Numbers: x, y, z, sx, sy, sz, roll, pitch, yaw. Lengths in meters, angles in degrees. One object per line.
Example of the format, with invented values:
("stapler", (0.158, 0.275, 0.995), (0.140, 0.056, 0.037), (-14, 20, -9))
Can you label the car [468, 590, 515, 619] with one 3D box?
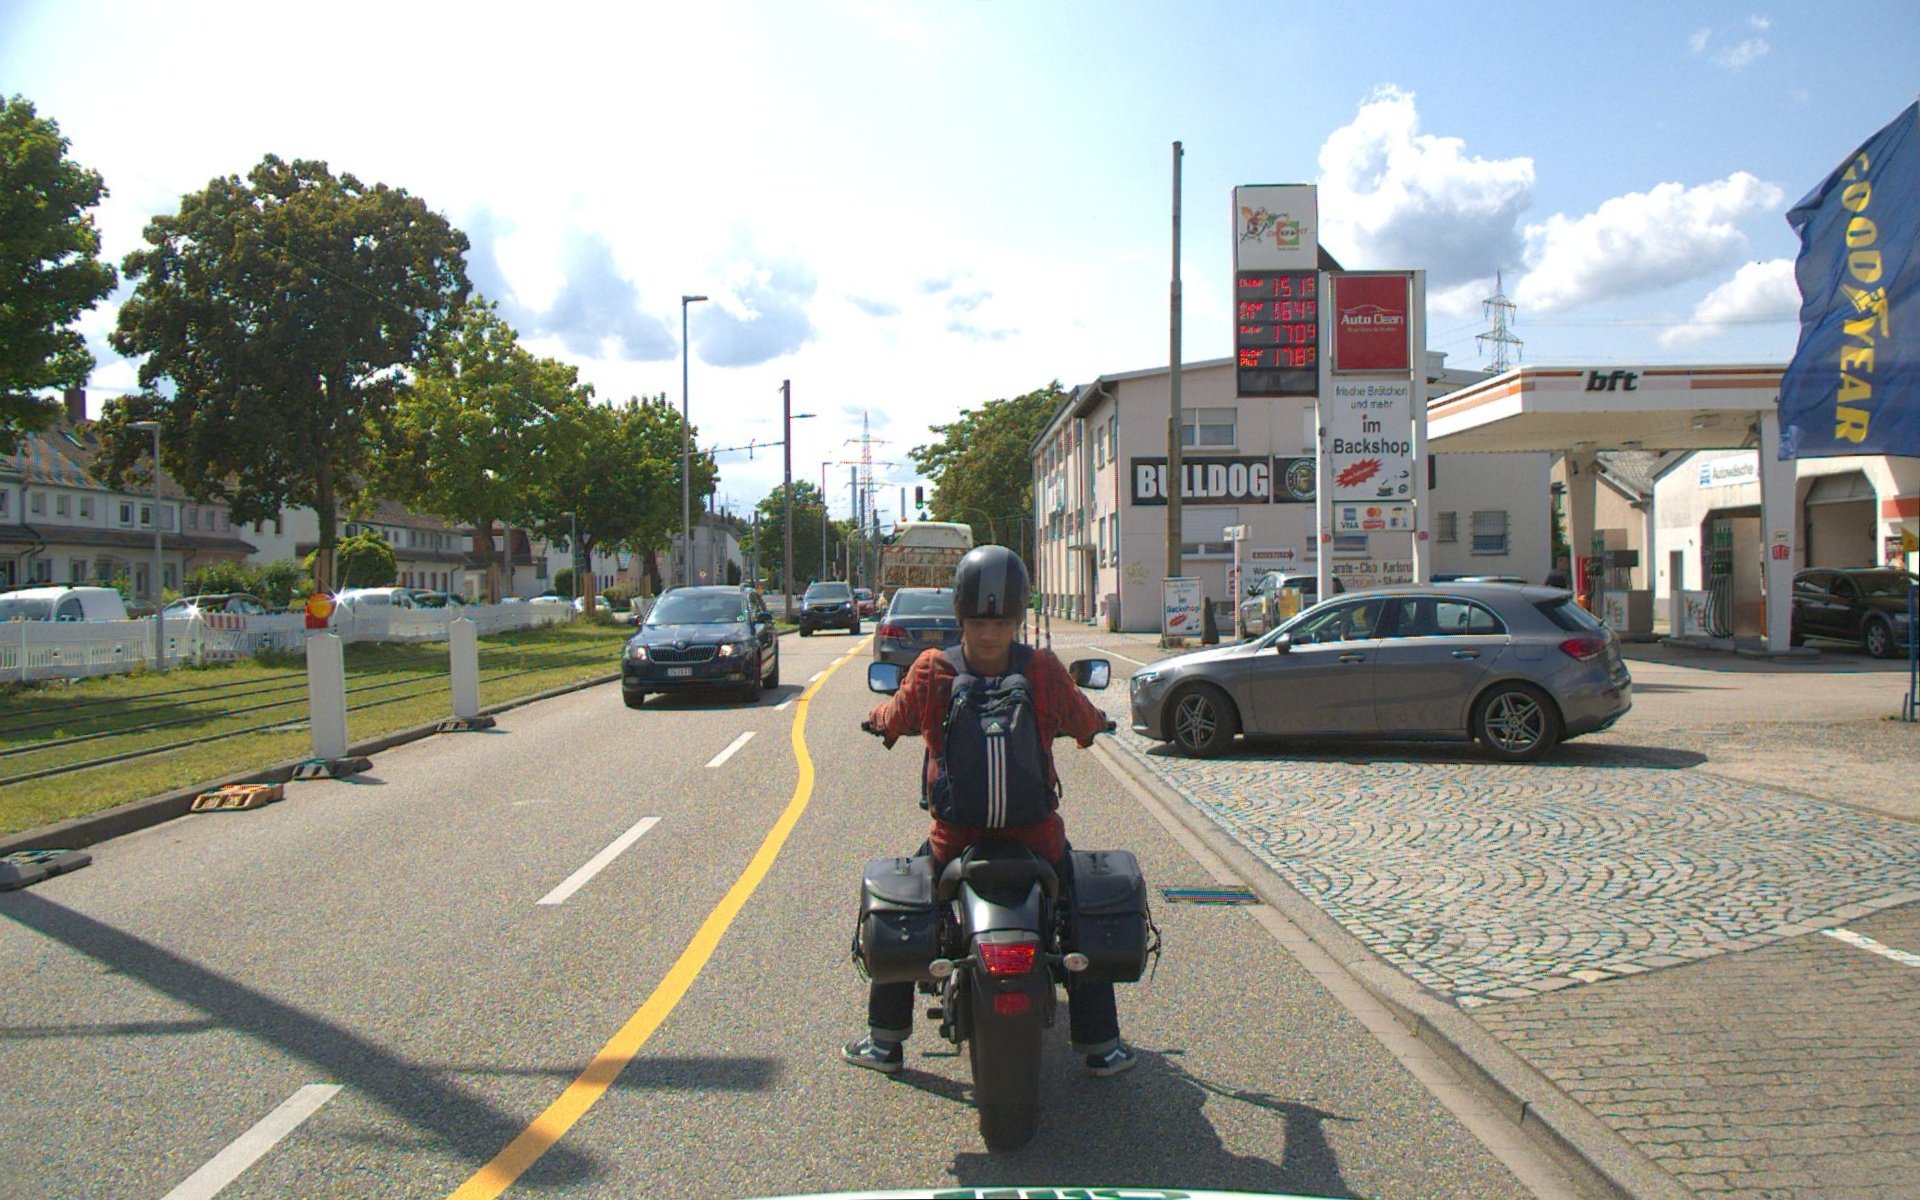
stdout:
("car", (-29.428, 0.272, 103.956), (1.740, 1.753, 4.127), (-1, 0, -1))

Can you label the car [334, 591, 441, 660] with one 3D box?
("car", (-16.943, 0.711, 49.163), (1.740, 1.900, 4.127), (-1, 0, -1))

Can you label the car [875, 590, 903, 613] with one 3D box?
("car", (-5.000, 0.082, 116.752), (1.786, 1.478, 4.323), (-2, 0, -1))

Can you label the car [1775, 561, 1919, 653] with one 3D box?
("car", (16.460, 0.093, 29.564), (1.770, 1.529, 3.832), (-1, 0, -3))

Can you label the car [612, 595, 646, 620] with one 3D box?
("car", (-24.967, 0.546, 124.856), (1.740, 1.753, 4.127), (-1, 0, -1))

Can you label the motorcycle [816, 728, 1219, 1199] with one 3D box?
("motorcycle", (0.122, 0.992, 5.328), (0.959, 0.913, 2.653), (-1, 0, -1))

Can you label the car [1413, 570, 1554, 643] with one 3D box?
("car", (11.720, 0.117, 37.271), (1.770, 1.529, 3.831), (-1, 0, -3))

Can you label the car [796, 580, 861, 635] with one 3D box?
("car", (-4.240, 0.215, 53.815), (1.786, 1.630, 4.323), (-2, 0, -1))

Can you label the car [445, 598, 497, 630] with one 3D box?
("car", (-28.302, 0.775, 95.838), (1.740, 1.753, 4.127), (-1, 0, -1))

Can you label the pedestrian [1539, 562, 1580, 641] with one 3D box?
("pedestrian", (12.952, 0.028, 35.717), (0.696, 1.685, 0.546), (-1, 0, 35))

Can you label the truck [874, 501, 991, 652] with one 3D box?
("truck", (-0.675, -0.559, 41.195), (2.585, 3.354, 8.055), (-1, 0, -1))

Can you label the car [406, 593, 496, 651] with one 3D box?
("car", (-16.974, 0.695, 55.329), (1.740, 1.837, 4.127), (-1, 0, -1))

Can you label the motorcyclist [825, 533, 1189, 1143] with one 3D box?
("motorcyclist", (0.120, 0.638, 5.022), (0.959, 1.630, 1.087), (-1, 0, -1))

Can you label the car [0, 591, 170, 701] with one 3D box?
("car", (-16.428, 0.779, 30.393), (1.740, 1.853, 4.363), (-1, 0, -1))

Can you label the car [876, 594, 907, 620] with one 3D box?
("car", (-4.277, 0.432, 103.715), (1.786, 1.478, 4.323), (-2, 0, -1))

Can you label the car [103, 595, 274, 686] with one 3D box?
("car", (-16.675, 0.823, 35.998), (1.740, 1.805, 4.227), (-1, 0, -1))

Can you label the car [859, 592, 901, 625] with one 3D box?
("car", (-3.760, 0.375, 78.629), (1.786, 1.478, 4.323), (-2, 0, -1))

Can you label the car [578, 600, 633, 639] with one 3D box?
("car", (-17.057, 0.907, 79.689), (1.740, 1.753, 4.127), (-1, 0, -1))

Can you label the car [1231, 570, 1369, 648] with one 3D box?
("car", (7.456, 0.173, 36.635), (1.636, 1.589, 4.236), (-1, 0, -8))

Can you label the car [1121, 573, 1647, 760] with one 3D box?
("car", (3.673, 0.529, 14.473), (4.190, 1.440, 1.672), (-1, 0, 28))

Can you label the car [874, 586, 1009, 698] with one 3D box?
("car", (-0.278, 0.546, 24.172), (1.786, 1.478, 3.999), (1, 0, -1))

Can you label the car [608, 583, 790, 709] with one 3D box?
("car", (-3.415, 0.542, 22.391), (1.786, 1.478, 4.323), (-2, 0, -1))
